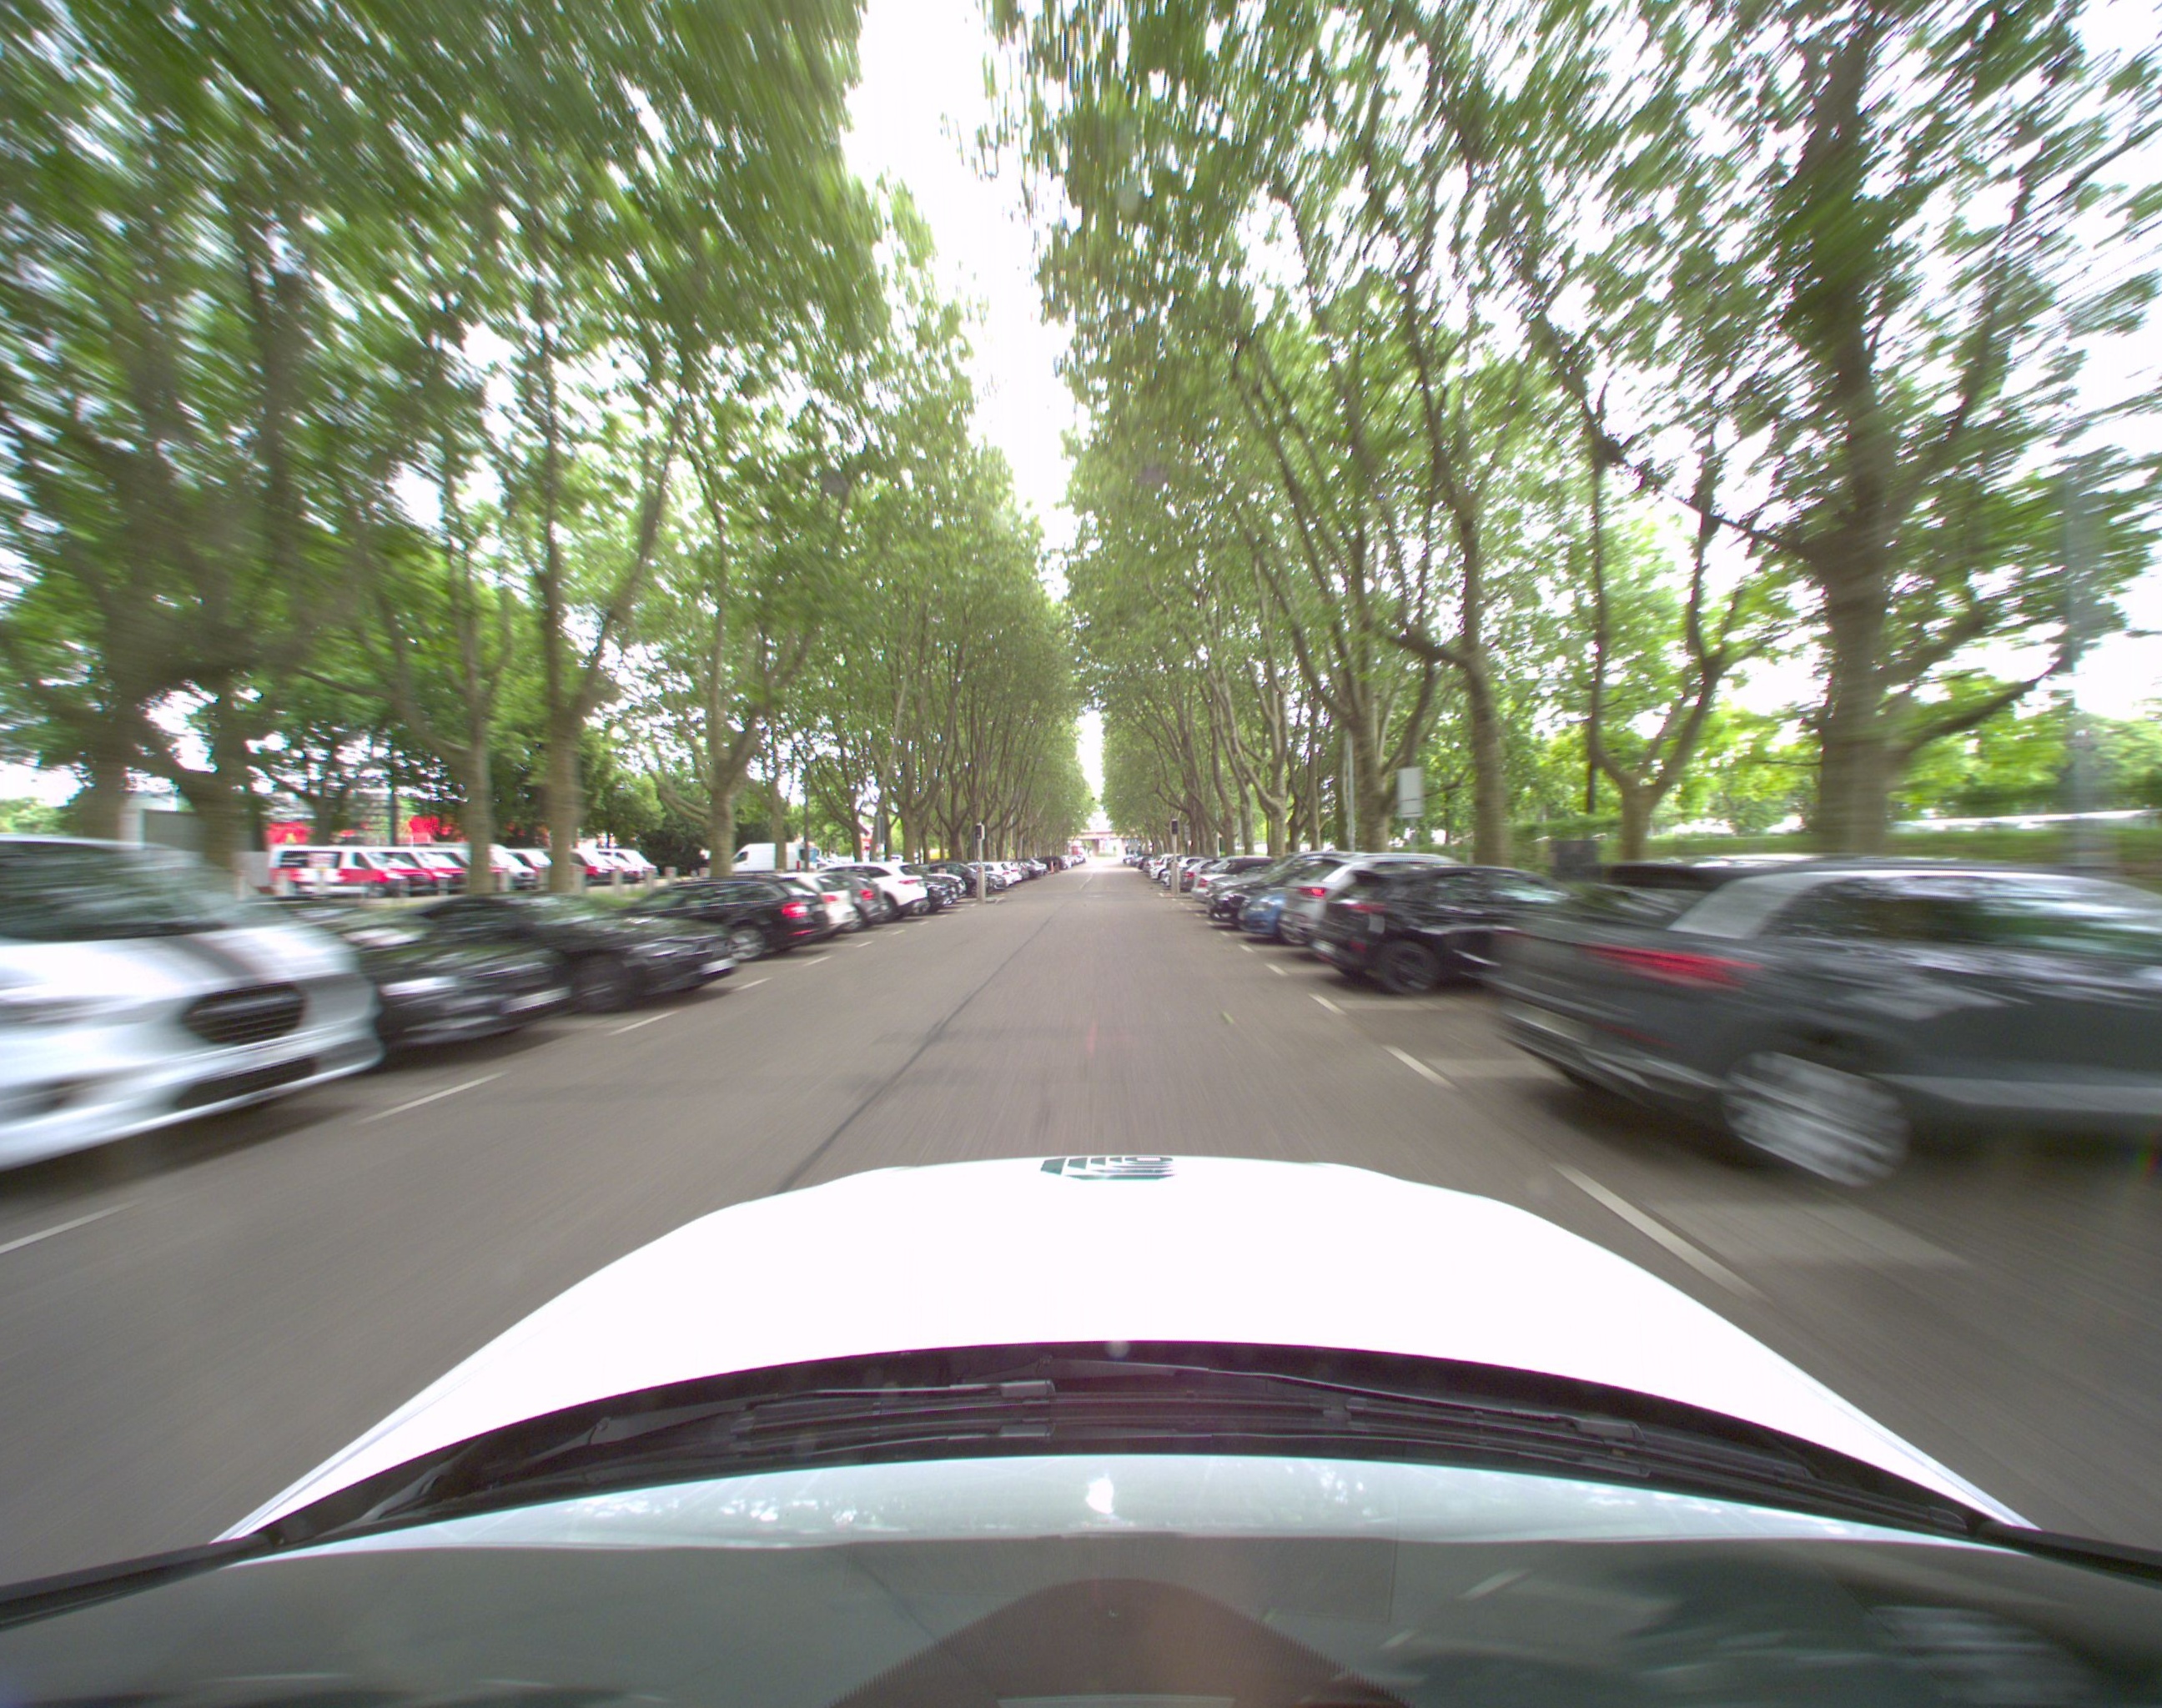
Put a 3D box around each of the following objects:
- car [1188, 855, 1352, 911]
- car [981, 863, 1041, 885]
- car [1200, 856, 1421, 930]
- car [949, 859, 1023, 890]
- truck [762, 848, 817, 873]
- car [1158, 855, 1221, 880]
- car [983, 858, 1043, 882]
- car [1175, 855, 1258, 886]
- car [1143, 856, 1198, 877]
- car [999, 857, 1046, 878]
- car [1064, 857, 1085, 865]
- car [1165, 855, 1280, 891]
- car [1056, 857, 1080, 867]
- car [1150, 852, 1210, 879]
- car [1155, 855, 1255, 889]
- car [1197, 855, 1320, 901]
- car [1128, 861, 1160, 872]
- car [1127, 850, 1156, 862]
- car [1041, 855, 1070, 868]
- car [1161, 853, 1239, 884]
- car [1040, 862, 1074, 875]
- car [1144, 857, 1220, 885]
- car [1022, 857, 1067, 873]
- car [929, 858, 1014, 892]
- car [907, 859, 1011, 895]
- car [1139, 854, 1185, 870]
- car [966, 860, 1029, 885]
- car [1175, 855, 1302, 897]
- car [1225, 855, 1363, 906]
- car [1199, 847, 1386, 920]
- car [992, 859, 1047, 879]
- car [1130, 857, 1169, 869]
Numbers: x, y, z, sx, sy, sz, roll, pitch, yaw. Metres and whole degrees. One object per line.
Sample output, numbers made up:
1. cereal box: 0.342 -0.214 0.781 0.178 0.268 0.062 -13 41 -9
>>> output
1. car: 5.063 0.764 22.175 4.098 1.470 1.695 0 0 1
2. car: -5.288 1.532 62.065 4.389 1.430 1.693 -3 0 -1
3. car: 4.693 0.775 17.055 4.198 1.451 1.610 0 0 0
4. car: -5.201 1.126 44.761 3.816 1.497 1.693 -3 0 -1
5. truck: -32.194 0.725 89.995 5.217 2.742 2.207 0 0 1
6. car: 6.632 0.796 49.931 3.635 1.519 1.642 0 0 -2
7. car: -4.729 1.108 56.798 4.009 1.430 1.693 -3 0 -1
8. car: 6.578 0.801 39.715 3.765 1.470 1.623 0 0 -2
9. car: 6.280 0.883 57.328 3.635 1.424 1.984 0 0 -2
10. car: -4.971 1.158 69.661 3.816 1.554 1.693 -3 0 -1
11. car: -1.271 1.434 160.620 3.796 1.515 1.688 -1 0 5
12. car: 5.890 0.775 34.197 4.598 1.470 1.650 0 0 1
13. car: -2.179 1.341 140.130 3.793 1.515 1.689 -3 -1 7
14. car: 6.340 0.723 52.156 3.635 1.667 1.518 0 0 -2
15. car: 5.587 0.801 36.935 4.285 1.470 1.623 0 0 -2
16. car: 5.809 0.767 26.940 3.762 1.470 1.667 0 0 1
17. car: 8.243 1.592 106.294 4.153 1.442 1.734 -1 0 6
18. car: 9.300 0.354 124.858 4.363 1.751 1.730 0 0 -1
19. car: -3.653 1.058 116.235 3.793 1.602 1.789 -3 -1 7
20. car: 6.145 0.742 42.406 3.765 1.597 1.820 0 0 -2
21. car: -2.938 1.746 99.621 3.793 1.354 1.665 -3 -1 7
22. car: 5.779 0.960 47.034 4.155 1.596 1.853 0 0 -2
23. car: -3.964 1.167 89.110 4.649 1.427 2.000 -3 0 0
24. car: -5.277 0.981 39.489 3.816 1.430 1.693 -3 0 -1
25. car: -5.490 1.021 36.970 4.388 1.365 1.693 -3 0 -1
26. car: 7.151 0.690 72.028 3.905 1.452 1.555 0 0 0
27. car: -5.354 1.165 52.369 3.816 1.430 1.693 -3 0 -1
28. car: 5.650 0.770 29.555 4.351 1.470 1.624 0 0 1
29. car: 6.296 0.762 24.377 3.760 1.470 1.625 0 0 3
30. car: 4.986 0.677 19.617 4.097 1.670 1.695 0 0 2
31. car: -5.017 1.213 66.919 4.320 1.430 1.693 -3 0 -1
32. car: 8.362 1.103 98.981 4.550 1.486 2.004 -1 0 6
